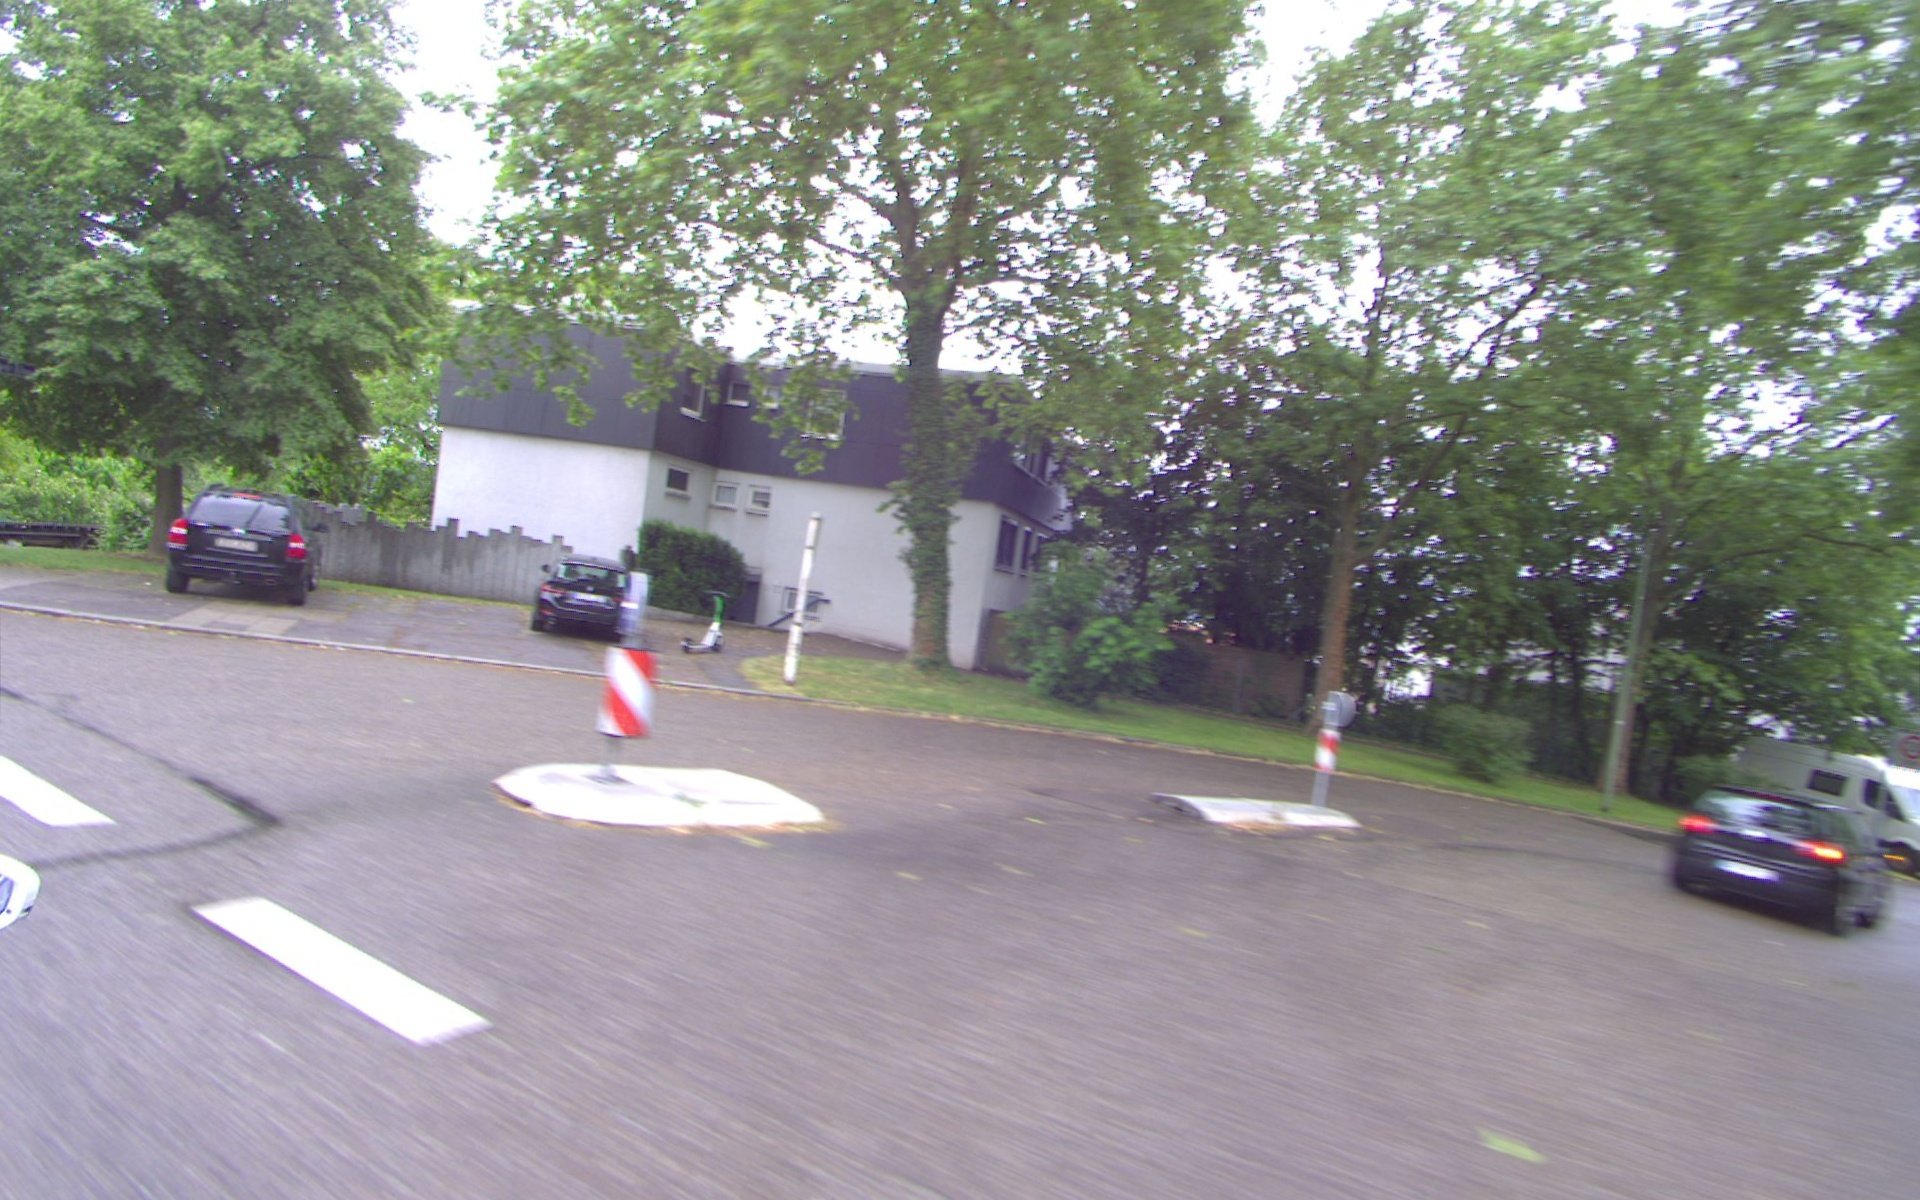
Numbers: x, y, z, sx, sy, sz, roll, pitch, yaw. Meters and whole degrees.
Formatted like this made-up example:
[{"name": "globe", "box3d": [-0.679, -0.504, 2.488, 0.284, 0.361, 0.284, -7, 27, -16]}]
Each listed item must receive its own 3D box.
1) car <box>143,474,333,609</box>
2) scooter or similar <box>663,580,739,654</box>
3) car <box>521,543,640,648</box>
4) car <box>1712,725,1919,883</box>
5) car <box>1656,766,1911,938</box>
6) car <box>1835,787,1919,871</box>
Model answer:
[{"name": "car", "box3d": [-11.990, -1.043, 17.046, 1.933, 1.710, 4.862, 8, 1, -30]}, {"name": "scooter or similar", "box3d": [-4.857, 0.339, 18.923, 0.552, 1.302, 1.338, 6, 1, 26]}, {"name": "car", "box3d": [-7.282, -0.185, 19.406, 1.733, 1.488, 4.541, 9, 1, -21]}, {"name": "car", "box3d": [23.331, 5.271, 25.960, 2.317, 2.709, 6.131, 8, 3, -8]}, {"name": "car", "box3d": [10.571, 3.207, 12.811, 3.980, 1.479, 1.707, 14, -3, -40]}, {"name": "car", "box3d": [26.068, 6.414, 26.345, 1.914, 1.713, 4.291, 12, 2, -10]}]
